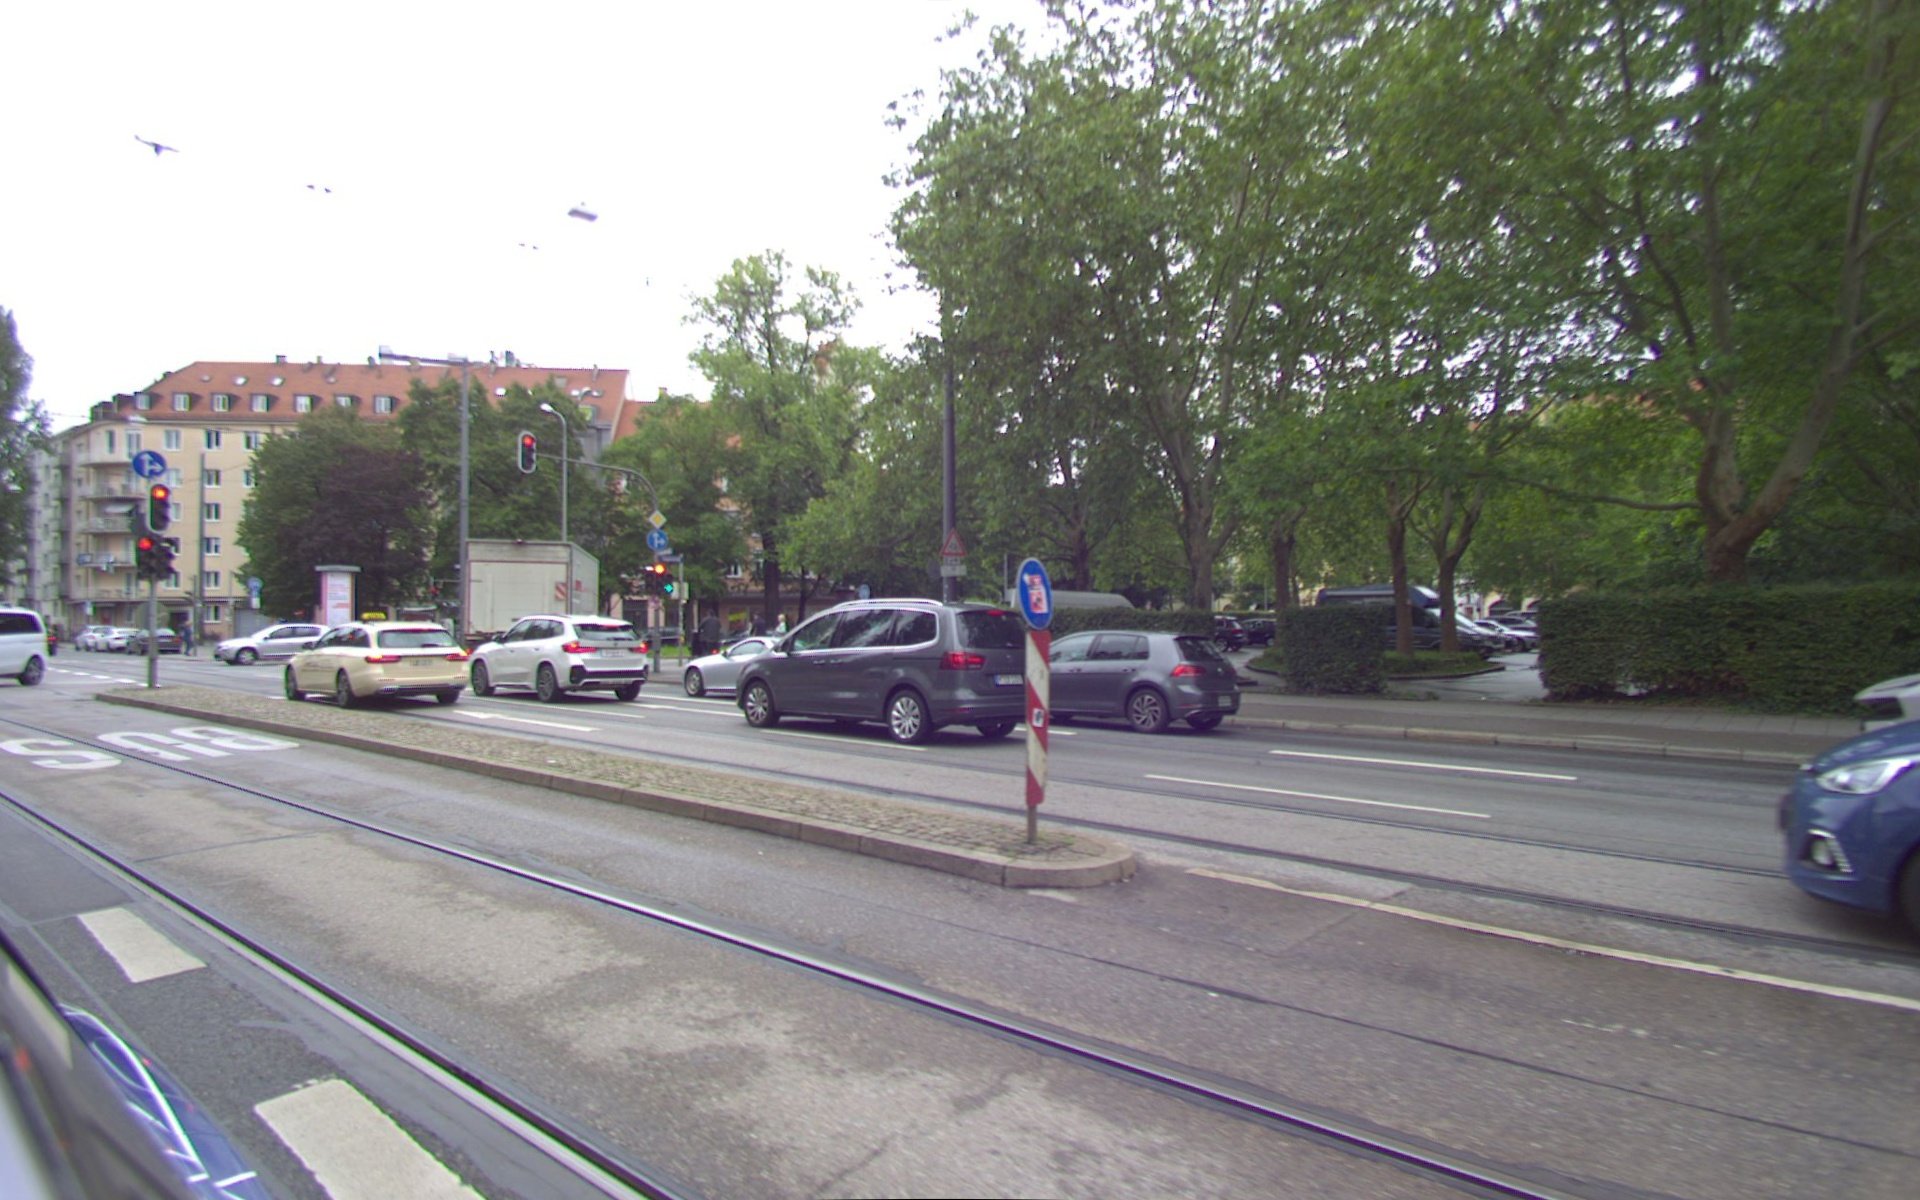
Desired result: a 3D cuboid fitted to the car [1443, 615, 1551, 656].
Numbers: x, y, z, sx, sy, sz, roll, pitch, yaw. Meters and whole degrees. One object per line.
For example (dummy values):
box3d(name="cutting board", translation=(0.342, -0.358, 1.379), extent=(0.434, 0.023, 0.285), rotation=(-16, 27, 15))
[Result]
box3d(name="car", translation=(24.652, 1.626, 46.519), extent=(3.999, 1.719, 1.972), rotation=(-4, -3, 42))

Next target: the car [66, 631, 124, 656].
box3d(name="car", translation=(-50.721, 2.521, 59.307), extent=(4.368, 1.418, 1.709), rotation=(-1, -2, 38))

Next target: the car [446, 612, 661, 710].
box3d(name="car", translation=(-8.070, 1.112, 19.859), extent=(4.888, 1.696, 1.895), rotation=(-2, -2, 41))

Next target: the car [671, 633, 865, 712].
box3d(name="car", translation=(-3.936, 1.410, 20.392), extent=(4.102, 1.422, 1.712), rotation=(-2, -5, 43))

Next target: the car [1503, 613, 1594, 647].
box3d(name="car", translation=(32.864, 1.687, 56.562), extent=(3.998, 1.719, 1.973), rotation=(-4, -3, 41))

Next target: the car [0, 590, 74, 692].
box3d(name="car", translation=(-23.400, 0.959, 23.454), extent=(1.884, 2.369, 4.953), rotation=(0, -2, -8))

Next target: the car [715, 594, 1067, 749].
box3d(name="car", translation=(-1.092, 0.845, 13.417), extent=(4.891, 1.696, 1.802), rotation=(-2, -2, 43))

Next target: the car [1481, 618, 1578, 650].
box3d(name="car", translation=(29.219, 1.770, 51.989), extent=(3.997, 1.492, 1.768), rotation=(-4, -3, 41))

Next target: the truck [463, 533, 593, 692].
box3d(name="truck", translation=(-13.040, 0.532, 31.445), extent=(2.701, 4.011, 11.751), rotation=(1, -2, -19))

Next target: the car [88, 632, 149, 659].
box3d(name="car", translation=(-46.747, 2.481, 56.183), extent=(4.368, 1.418, 1.709), rotation=(-1, -2, 38))

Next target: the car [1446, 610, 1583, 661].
box3d(name="car", translation=(20.138, 1.302, 36.841), extent=(3.998, 1.674, 1.973), rotation=(-4, -3, 41))

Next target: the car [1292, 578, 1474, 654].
box3d(name="car", translation=(15.678, 0.651, 37.803), extent=(1.971, 2.554, 5.867), rotation=(0, -3, -45))

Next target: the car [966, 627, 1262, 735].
box3d(name="car", translation=(2.198, 1.106, 15.179), extent=(4.098, 1.391, 1.802), rotation=(-2, -2, 43))

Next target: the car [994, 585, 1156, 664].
box3d(name="car", translation=(3.545, 0.788, 31.596), extent=(4.557, 2.029, 2.003), rotation=(5, -3, -6))

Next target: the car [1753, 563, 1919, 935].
box3d(name="car", translation=(5.758, 0.613, 3.705), extent=(4.355, 1.534, 1.779), rotation=(-1, -2, 43))

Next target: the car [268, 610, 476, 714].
box3d(name="car", translation=(-10.755, 1.045, 18.344), extent=(4.888, 1.651, 1.803), rotation=(-2, -2, 41))

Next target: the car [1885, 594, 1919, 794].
box3d(name="car", translation=(10.250, 0.756, 7.479), extent=(4.999, 1.655, 1.779), rotation=(-2, -2, 43))

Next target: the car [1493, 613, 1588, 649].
box3d(name="car", translation=(30.954, 1.666, 54.027), extent=(3.999, 1.719, 1.972), rotation=(-4, -3, 42))

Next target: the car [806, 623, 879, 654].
box3d(name="car", translation=(-7.268, 2.349, 62.961), extent=(1.935, 1.833, 4.496), rotation=(-2, -2, 37))

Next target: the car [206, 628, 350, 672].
box3d(name="car", translation=(-25.672, 1.857, 38.223), extent=(1.772, 1.536, 4.158), rotation=(-3, -3, 35))

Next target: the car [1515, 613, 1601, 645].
box3d(name="car", translation=(35.090, 1.709, 59.420), extent=(3.998, 1.719, 1.973), rotation=(-4, -3, 41))
